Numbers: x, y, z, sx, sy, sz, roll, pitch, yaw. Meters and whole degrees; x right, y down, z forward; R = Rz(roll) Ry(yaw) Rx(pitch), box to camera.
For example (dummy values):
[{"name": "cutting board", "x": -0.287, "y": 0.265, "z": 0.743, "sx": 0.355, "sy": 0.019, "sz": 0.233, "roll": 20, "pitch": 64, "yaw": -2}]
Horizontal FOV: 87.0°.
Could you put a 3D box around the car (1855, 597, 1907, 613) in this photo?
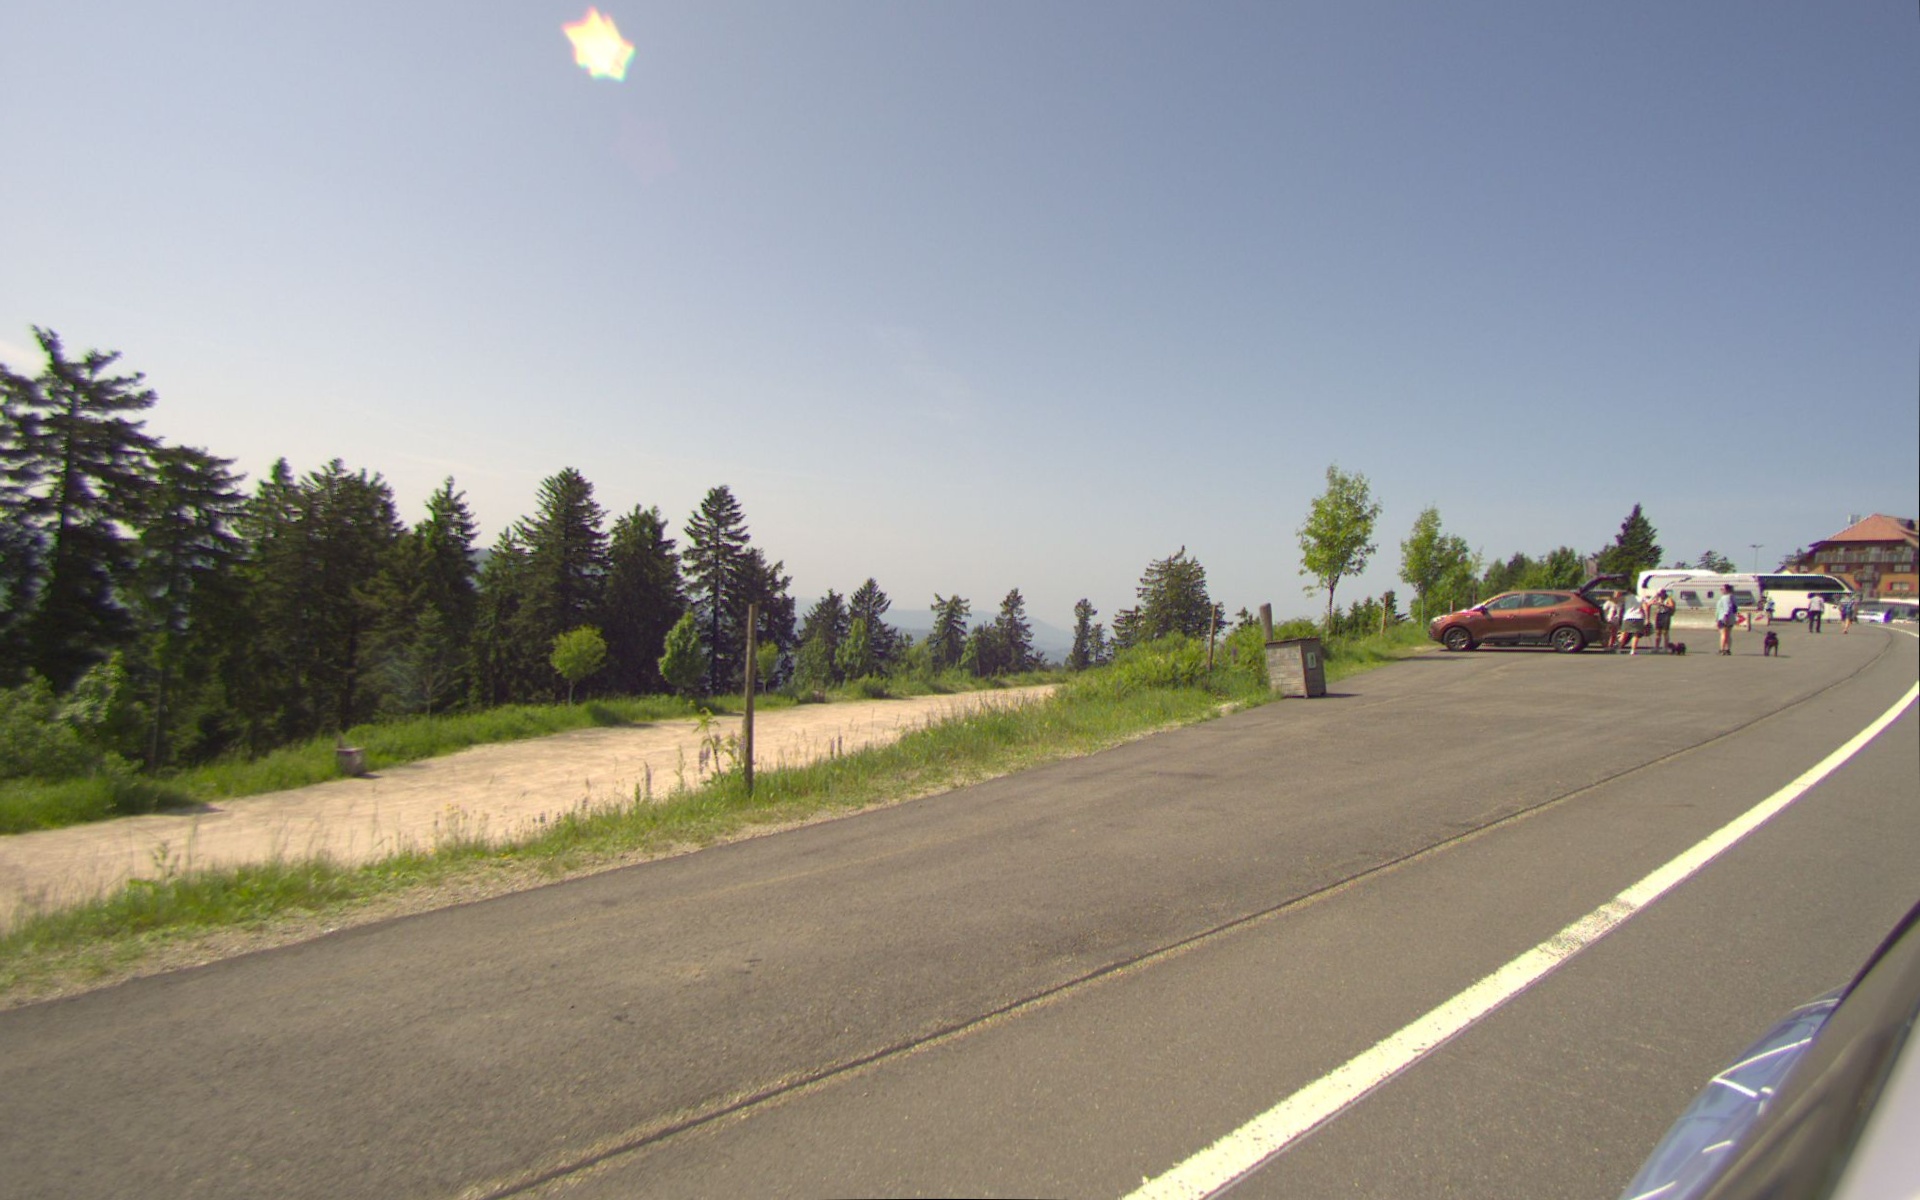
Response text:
[{"name": "car", "x": 104.376, "y": 0.519, "z": 114.757, "sx": 1.752, "sy": 1.608, "sz": 3.972, "roll": 2, "pitch": 1, "yaw": -23}]

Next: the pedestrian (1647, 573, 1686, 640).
[{"name": "pedestrian", "x": 18.408, "y": 0.166, "z": 26.370, "sx": 0.608, "sy": 1.713, "sz": 0.717, "roll": 0, "pitch": 0, "yaw": -41}]

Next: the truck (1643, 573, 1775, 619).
[{"name": "truck", "x": 45.711, "y": -0.271, "z": 61.852, "sx": 6.257, "sy": 2.623, "sz": 2.305, "roll": 2, "pitch": 1, "yaw": 42}]

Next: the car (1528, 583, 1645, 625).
[{"name": "car", "x": 25.981, "y": 0.203, "z": 42.054, "sx": 3.978, "sy": 1.668, "sz": 1.578, "roll": -1, "pitch": -1, "yaw": 39}]

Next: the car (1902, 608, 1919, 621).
[{"name": "car", "x": 118.745, "y": 1.824, "z": 125.350, "sx": 3.068, "sy": 1.572, "sz": 1.719, "roll": 2, "pitch": 1, "yaw": -19}]

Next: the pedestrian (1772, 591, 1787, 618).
[{"name": "pedestrian", "x": 55.916, "y": 0.291, "z": 69.073, "sx": 0.616, "sy": 1.780, "sz": 0.632, "roll": 1, "pitch": 0, "yaw": -35}]

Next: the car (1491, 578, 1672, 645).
[{"name": "car", "x": 18.094, "y": 0.275, "z": 29.577, "sx": 4.263, "sy": 1.816, "sz": 1.863, "roll": 1, "pitch": 1, "yaw": 43}]

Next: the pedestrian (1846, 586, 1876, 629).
[{"name": "pedestrian", "x": 37.921, "y": 0.314, "z": 42.604, "sx": 0.760, "sy": 1.782, "sz": 0.756, "roll": 1, "pitch": 0, "yaw": -35}]

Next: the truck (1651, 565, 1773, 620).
[{"name": "truck", "x": 47.815, "y": -0.524, "z": 64.428, "sx": 6.055, "sy": 3.235, "sz": 2.496, "roll": 2, "pitch": 1, "yaw": 39}]

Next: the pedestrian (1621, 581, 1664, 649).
[{"name": "pedestrian", "x": 17.234, "y": 0.370, "z": 25.558, "sx": 0.674, "sy": 1.681, "sz": 0.655, "roll": 3, "pitch": 0, "yaw": -35}]

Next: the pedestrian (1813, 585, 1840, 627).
[{"name": "pedestrian", "x": 37.115, "y": 0.268, "z": 43.344, "sx": 0.877, "sy": 1.763, "sz": 0.667, "roll": 1, "pitch": 0, "yaw": -35}]

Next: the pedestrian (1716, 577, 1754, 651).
[{"name": "pedestrian", "x": 19.235, "y": 0.343, "z": 25.115, "sx": 0.711, "sy": 1.797, "sz": 0.618, "roll": 0, "pitch": 0, "yaw": -41}]

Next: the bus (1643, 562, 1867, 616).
[{"name": "bus", "x": 58.508, "y": -0.943, "z": 74.976, "sx": 12.843, "sy": 3.622, "sz": 2.795, "roll": 3, "pitch": 1, "yaw": 43}]

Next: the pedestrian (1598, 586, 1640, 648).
[{"name": "pedestrian", "x": 17.589, "y": 0.448, "z": 26.999, "sx": 0.720, "sy": 1.607, "sz": 0.620, "roll": 3, "pitch": 0, "yaw": -29}]

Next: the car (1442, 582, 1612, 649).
[{"name": "car", "x": 15.251, "y": 0.406, "z": 27.308, "sx": 3.807, "sy": 1.682, "sz": 1.630, "roll": -1, "pitch": 0, "yaw": 38}]
